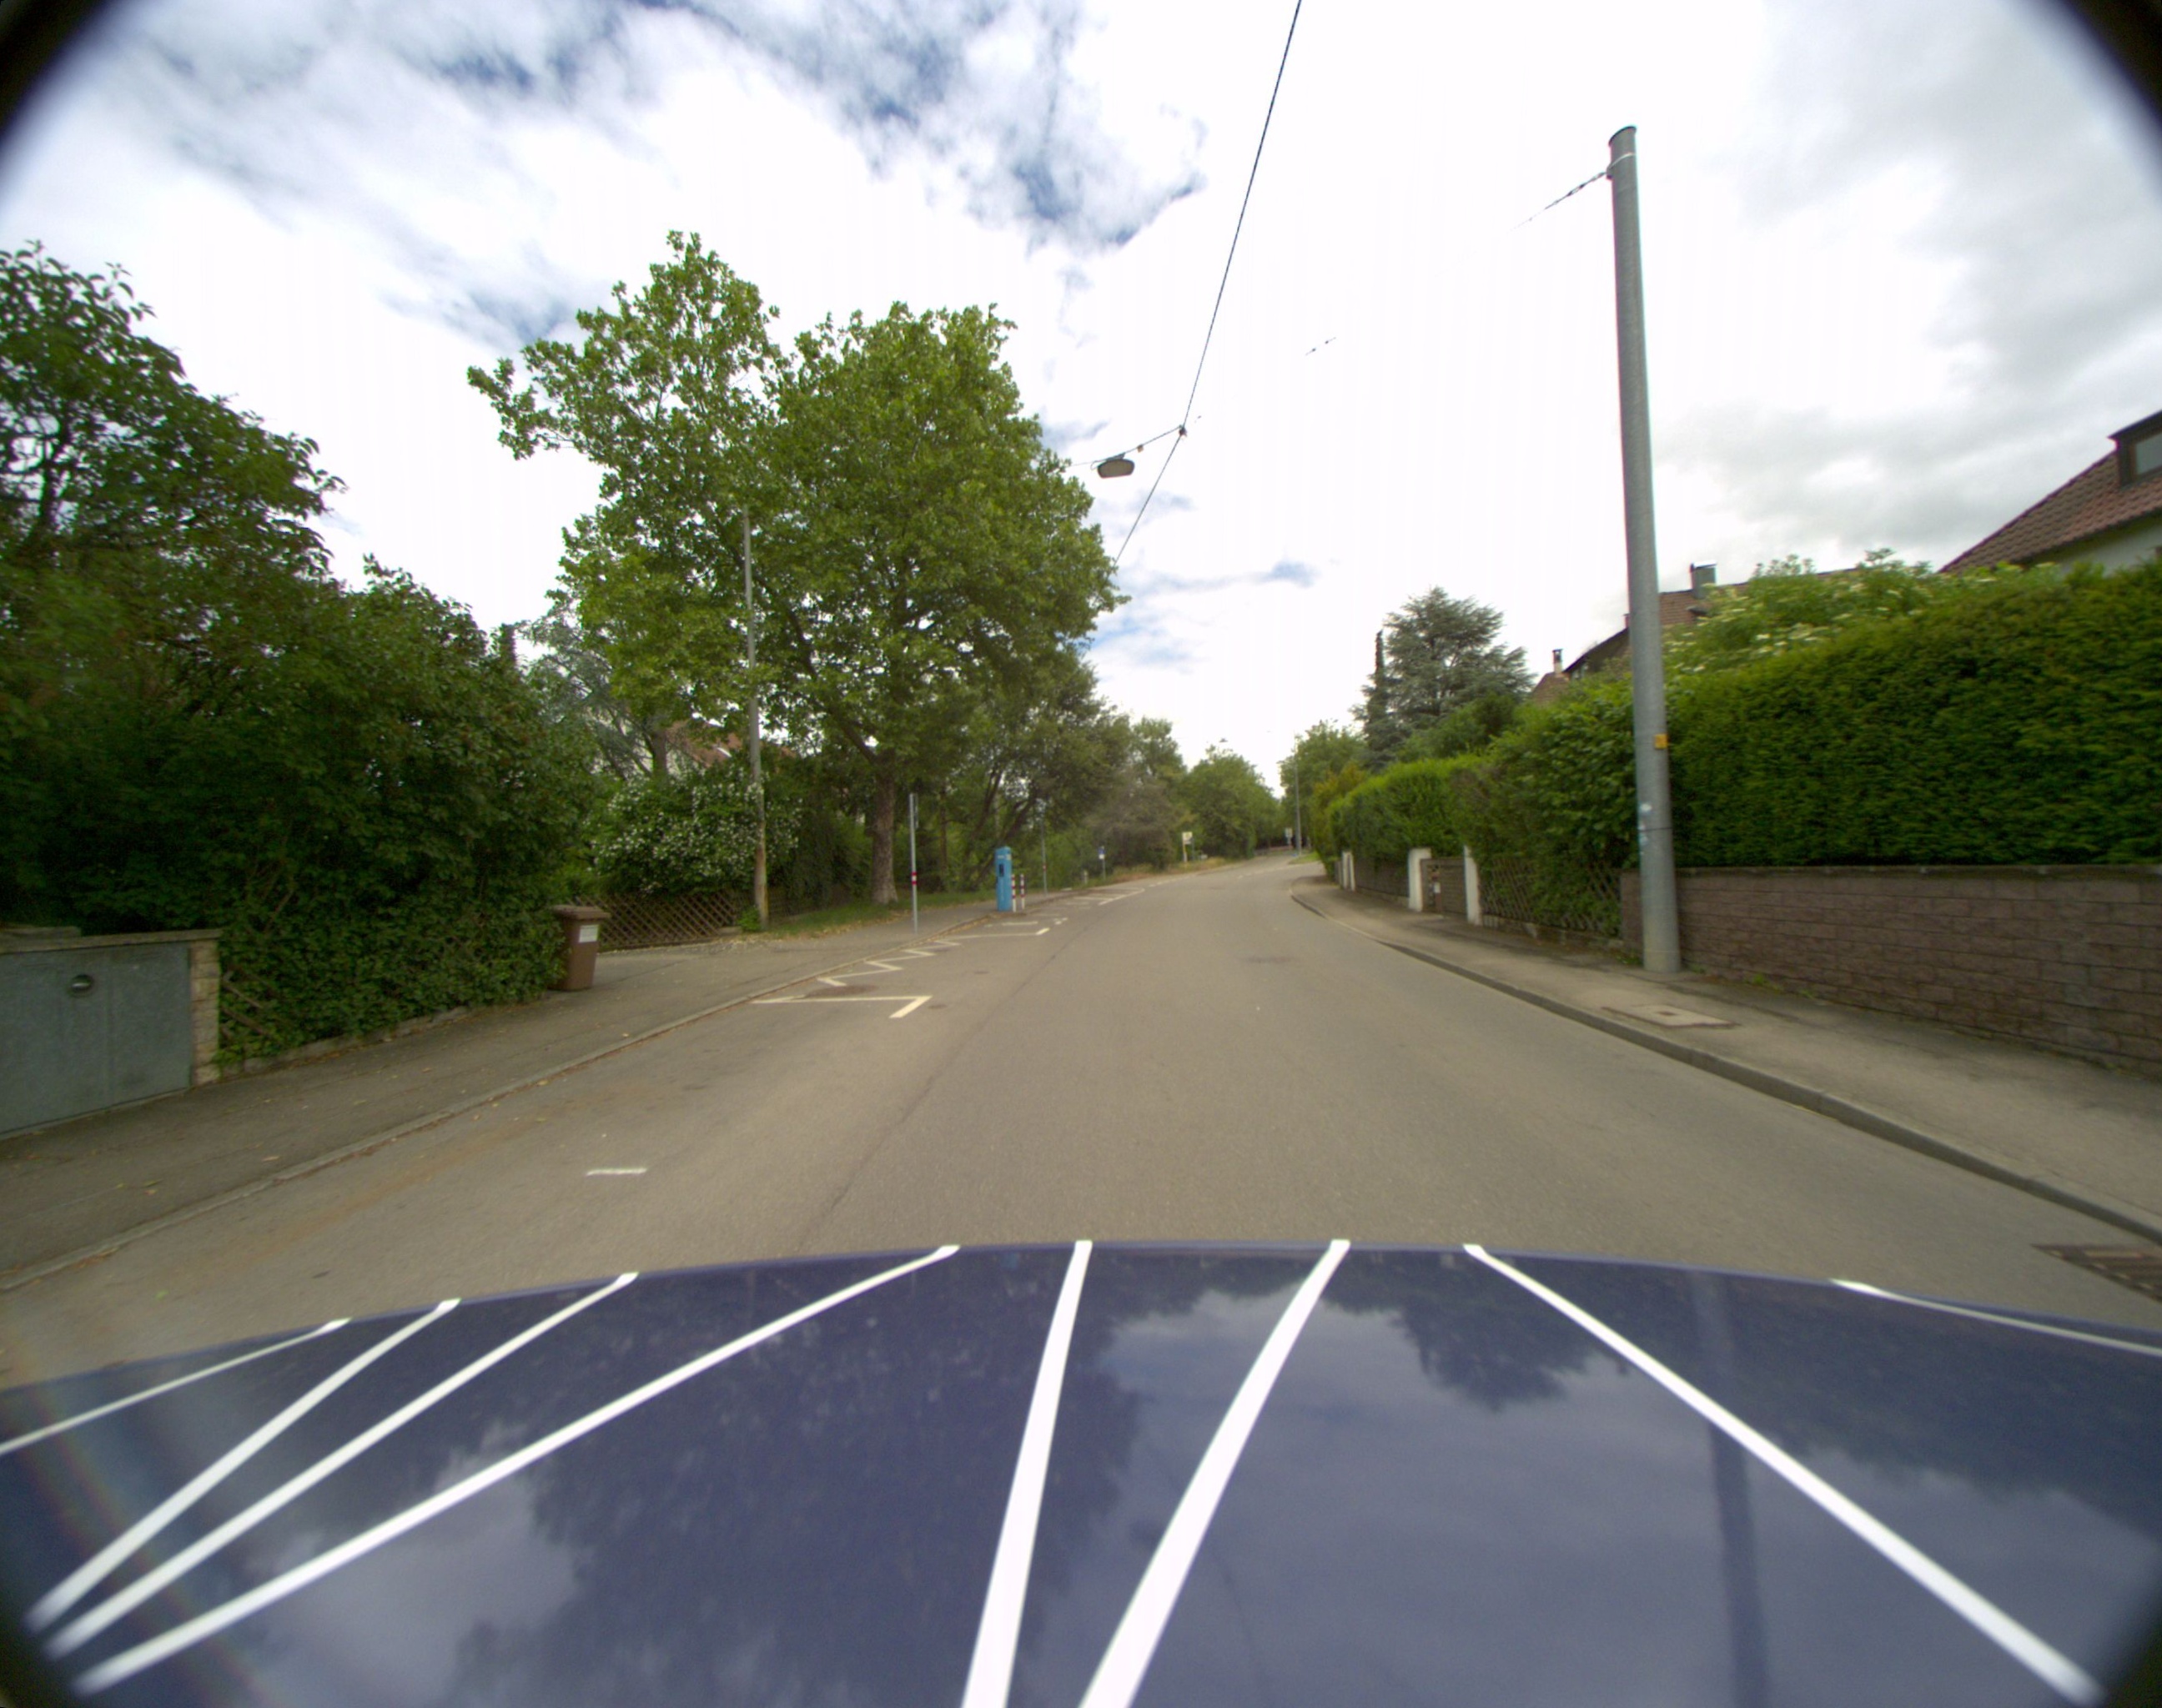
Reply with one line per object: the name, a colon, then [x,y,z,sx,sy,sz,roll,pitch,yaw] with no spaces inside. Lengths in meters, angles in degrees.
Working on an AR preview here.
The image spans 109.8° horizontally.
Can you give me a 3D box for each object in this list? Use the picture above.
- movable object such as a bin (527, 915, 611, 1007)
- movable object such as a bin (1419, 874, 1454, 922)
movable object such as a bin: [-6.466,1.340,9.614,0.605,1.063,0.569,-3,0,11]
movable object such as a bin: [7.720,0.951,16.492,0.448,1.025,0.499,-2,-1,-9]
